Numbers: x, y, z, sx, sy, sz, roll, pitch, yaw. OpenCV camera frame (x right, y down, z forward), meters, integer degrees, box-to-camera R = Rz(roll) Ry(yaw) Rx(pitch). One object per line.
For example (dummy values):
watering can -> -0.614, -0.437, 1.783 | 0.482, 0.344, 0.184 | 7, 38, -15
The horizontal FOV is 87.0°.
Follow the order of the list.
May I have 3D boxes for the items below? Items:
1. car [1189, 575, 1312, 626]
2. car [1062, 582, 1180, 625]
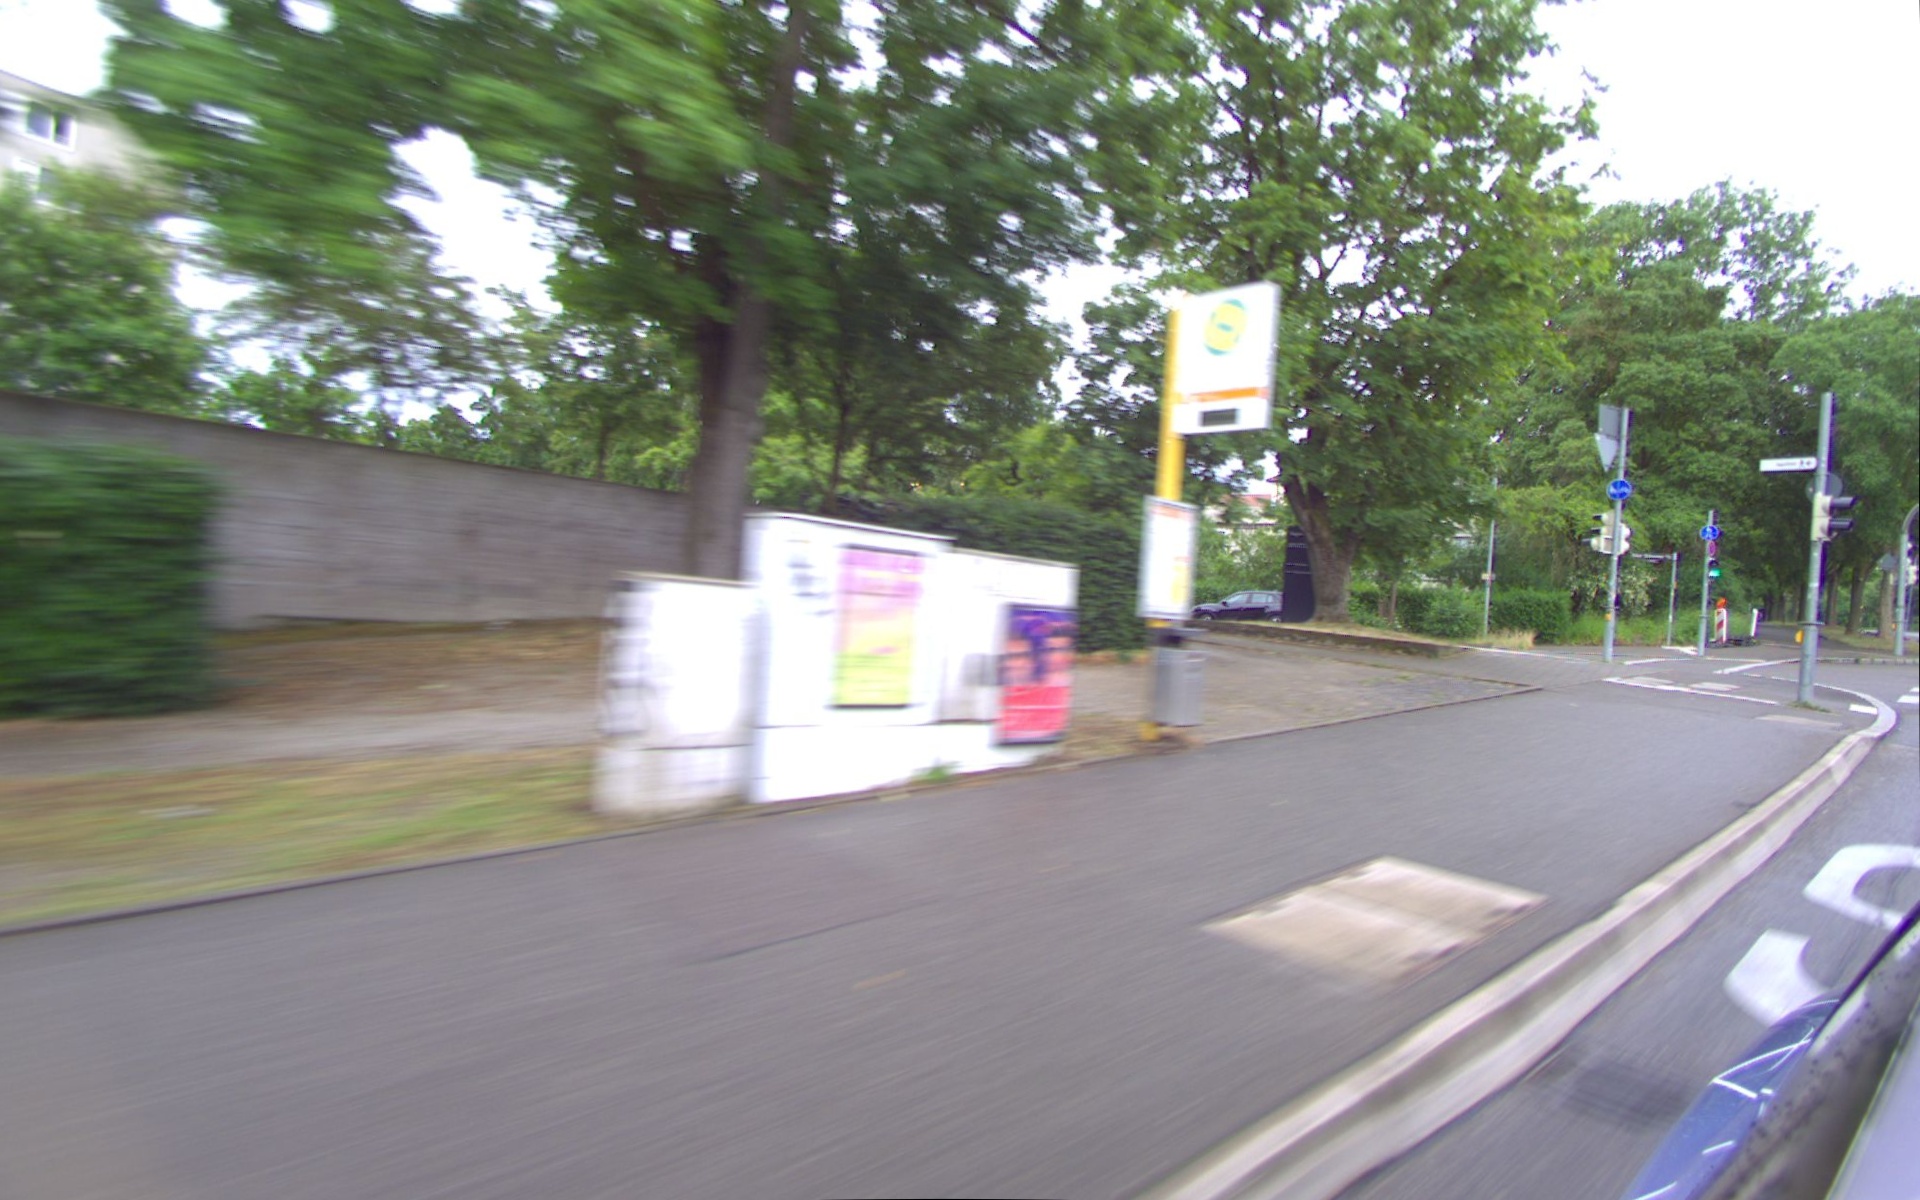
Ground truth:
car -> 10.407, -0.008, 36.287 | 3.874, 1.567, 1.861 | 3, 2, 31
car -> 6.198, 0.101, 39.000 | 4.075, 1.411, 1.825 | 3, 2, 32
